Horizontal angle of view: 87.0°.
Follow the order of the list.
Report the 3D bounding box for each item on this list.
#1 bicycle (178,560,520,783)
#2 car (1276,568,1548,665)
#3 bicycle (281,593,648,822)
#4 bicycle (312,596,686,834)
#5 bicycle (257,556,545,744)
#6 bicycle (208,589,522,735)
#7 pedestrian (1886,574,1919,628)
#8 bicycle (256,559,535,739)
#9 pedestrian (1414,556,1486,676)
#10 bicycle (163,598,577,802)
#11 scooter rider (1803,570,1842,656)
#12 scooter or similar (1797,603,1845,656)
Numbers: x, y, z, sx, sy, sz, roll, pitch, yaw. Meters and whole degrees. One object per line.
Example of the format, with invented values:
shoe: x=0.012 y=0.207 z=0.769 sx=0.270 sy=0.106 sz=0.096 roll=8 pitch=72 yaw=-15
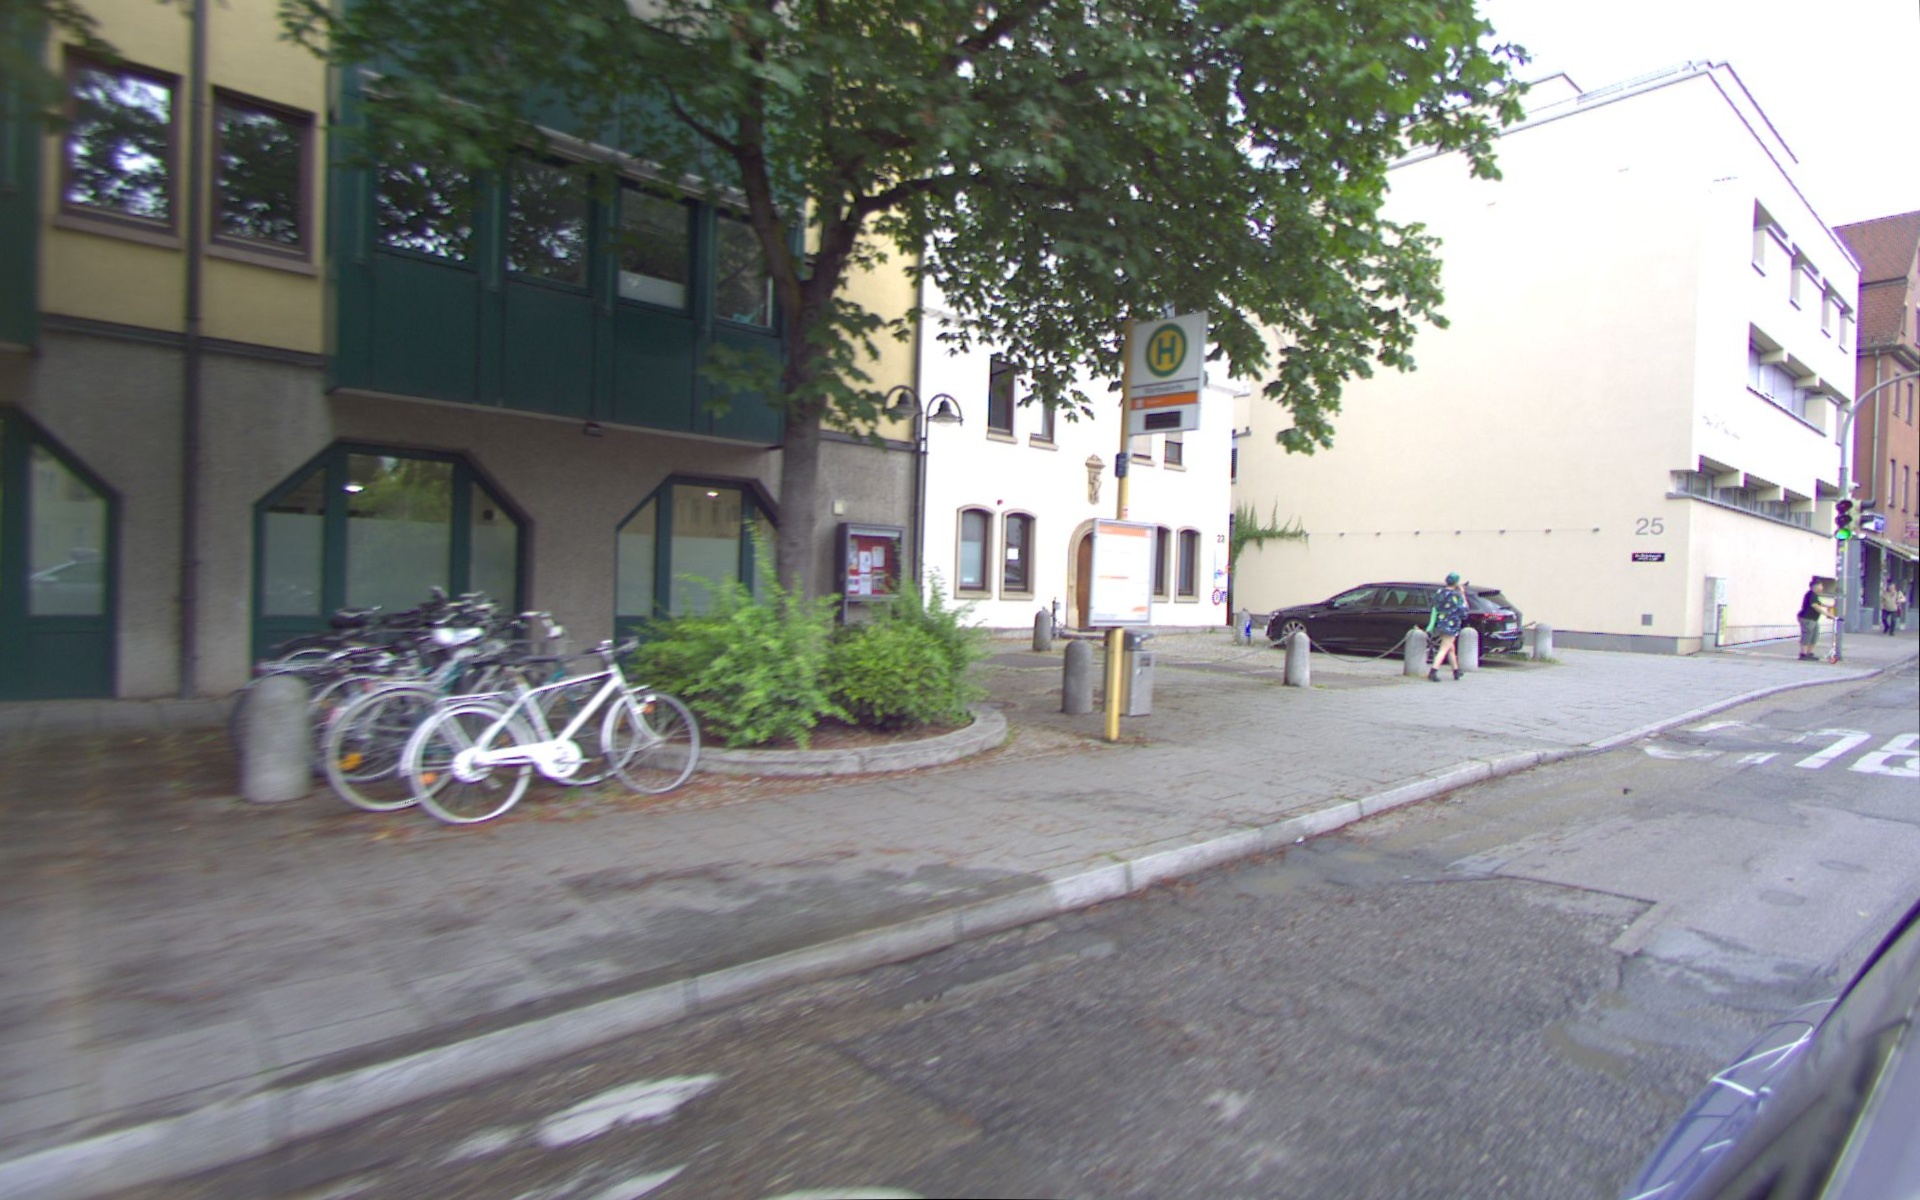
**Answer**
bicycle: x=-3.991 y=0.409 z=6.754 sx=1.925 sy=1.317 sz=0.333 roll=-1 pitch=1 yaw=-41
car: x=8.672 y=0.211 z=19.757 sx=1.821 sy=1.593 sz=4.519 roll=-2 pitch=3 yaw=-41
bicycle: x=-2.828 y=0.549 z=5.967 sx=1.925 sy=1.156 sz=0.333 roll=-1 pitch=1 yaw=-41
bicycle: x=-2.535 y=0.565 z=5.772 sx=1.925 sy=1.155 sz=0.333 roll=-1 pitch=1 yaw=-41
bicycle: x=-4.264 y=0.335 z=7.849 sx=1.925 sy=1.317 sz=0.333 roll=-1 pitch=1 yaw=-41
bicycle: x=-4.995 y=0.458 z=8.643 sx=2.254 sy=1.082 sz=0.545 roll=-1 pitch=2 yaw=-45
pedestrian: x=30.044 y=0.011 z=32.201 sx=0.873 sy=1.669 sz=0.702 roll=0 pitch=2 yaw=-40
bicycle: x=-4.470 y=0.341 z=8.138 sx=1.925 sy=1.317 sz=0.333 roll=-1 pitch=1 yaw=-41
pedestrian: x=7.351 y=0.227 z=15.178 sx=0.843 sy=1.737 sz=0.604 roll=0 pitch=1 yaw=-32
bicycle: x=-3.695 y=0.548 z=6.543 sx=2.254 sy=1.082 sz=0.545 roll=-1 pitch=2 yaw=-45
scooter rider: x=17.281 y=0.248 z=20.292 sx=0.451 sy=1.651 sz=0.498 roll=4 pitch=5 yaw=36
scooter or similar: x=17.316 y=0.580 z=20.366 sx=0.661 sy=0.957 sz=0.808 roll=5 pitch=5 yaw=40
